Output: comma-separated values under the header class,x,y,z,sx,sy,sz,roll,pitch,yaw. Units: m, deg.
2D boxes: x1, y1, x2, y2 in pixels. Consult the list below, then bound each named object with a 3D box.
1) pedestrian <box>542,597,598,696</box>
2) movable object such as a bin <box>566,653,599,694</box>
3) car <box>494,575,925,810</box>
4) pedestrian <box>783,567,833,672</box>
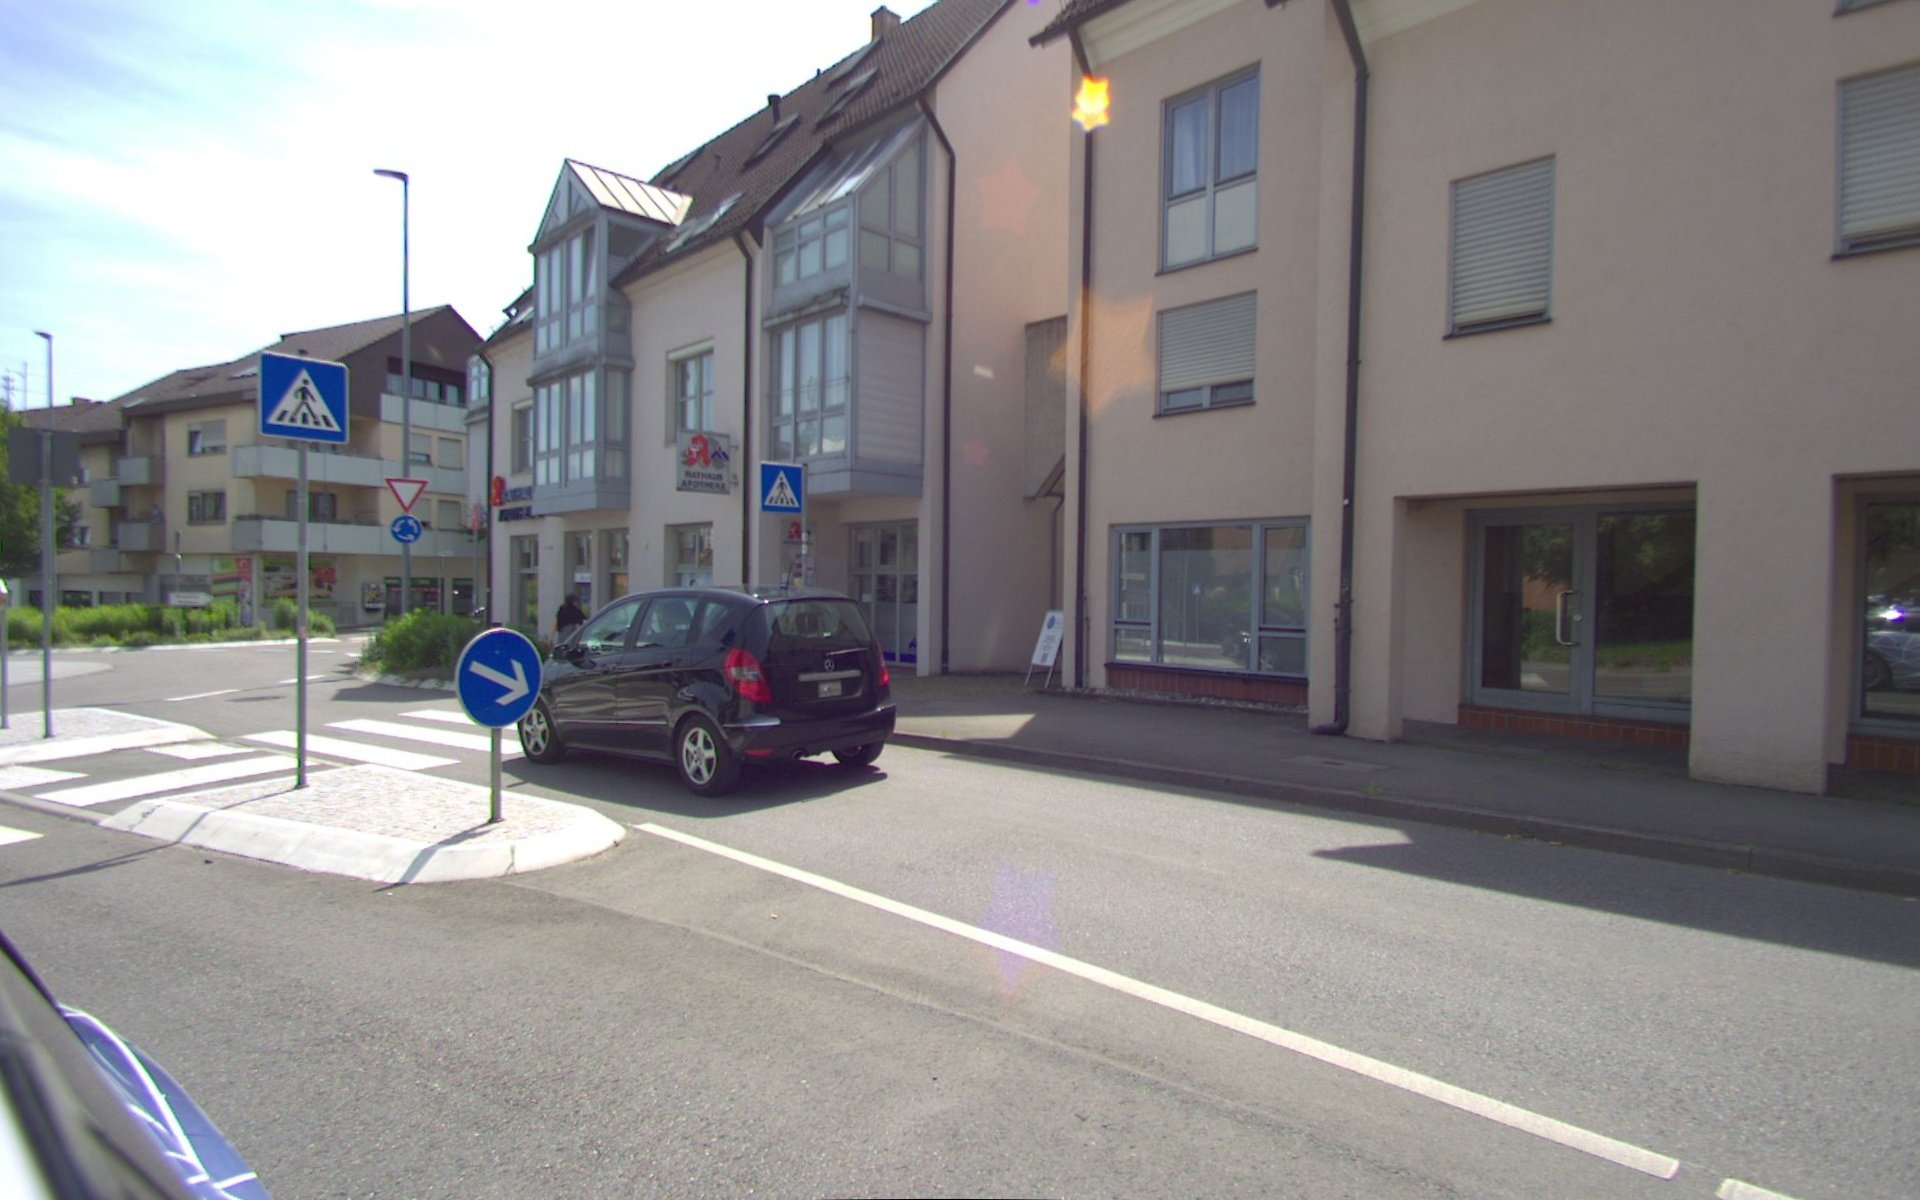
class,x,y,z,sx,sy,sz,roll,pitch,yaw
pedestrian,-6.132,0.697,15.917,0.788,1.489,0.960,-1,0,-21
movable object such as a bin,-5.794,1.122,15.531,0.451,0.586,0.470,-1,0,-21
car,-2.330,0.630,8.839,3.944,1.596,1.733,-1,0,42
pedestrian,-2.581,0.318,17.180,0.568,1.722,0.580,-2,1,-40
